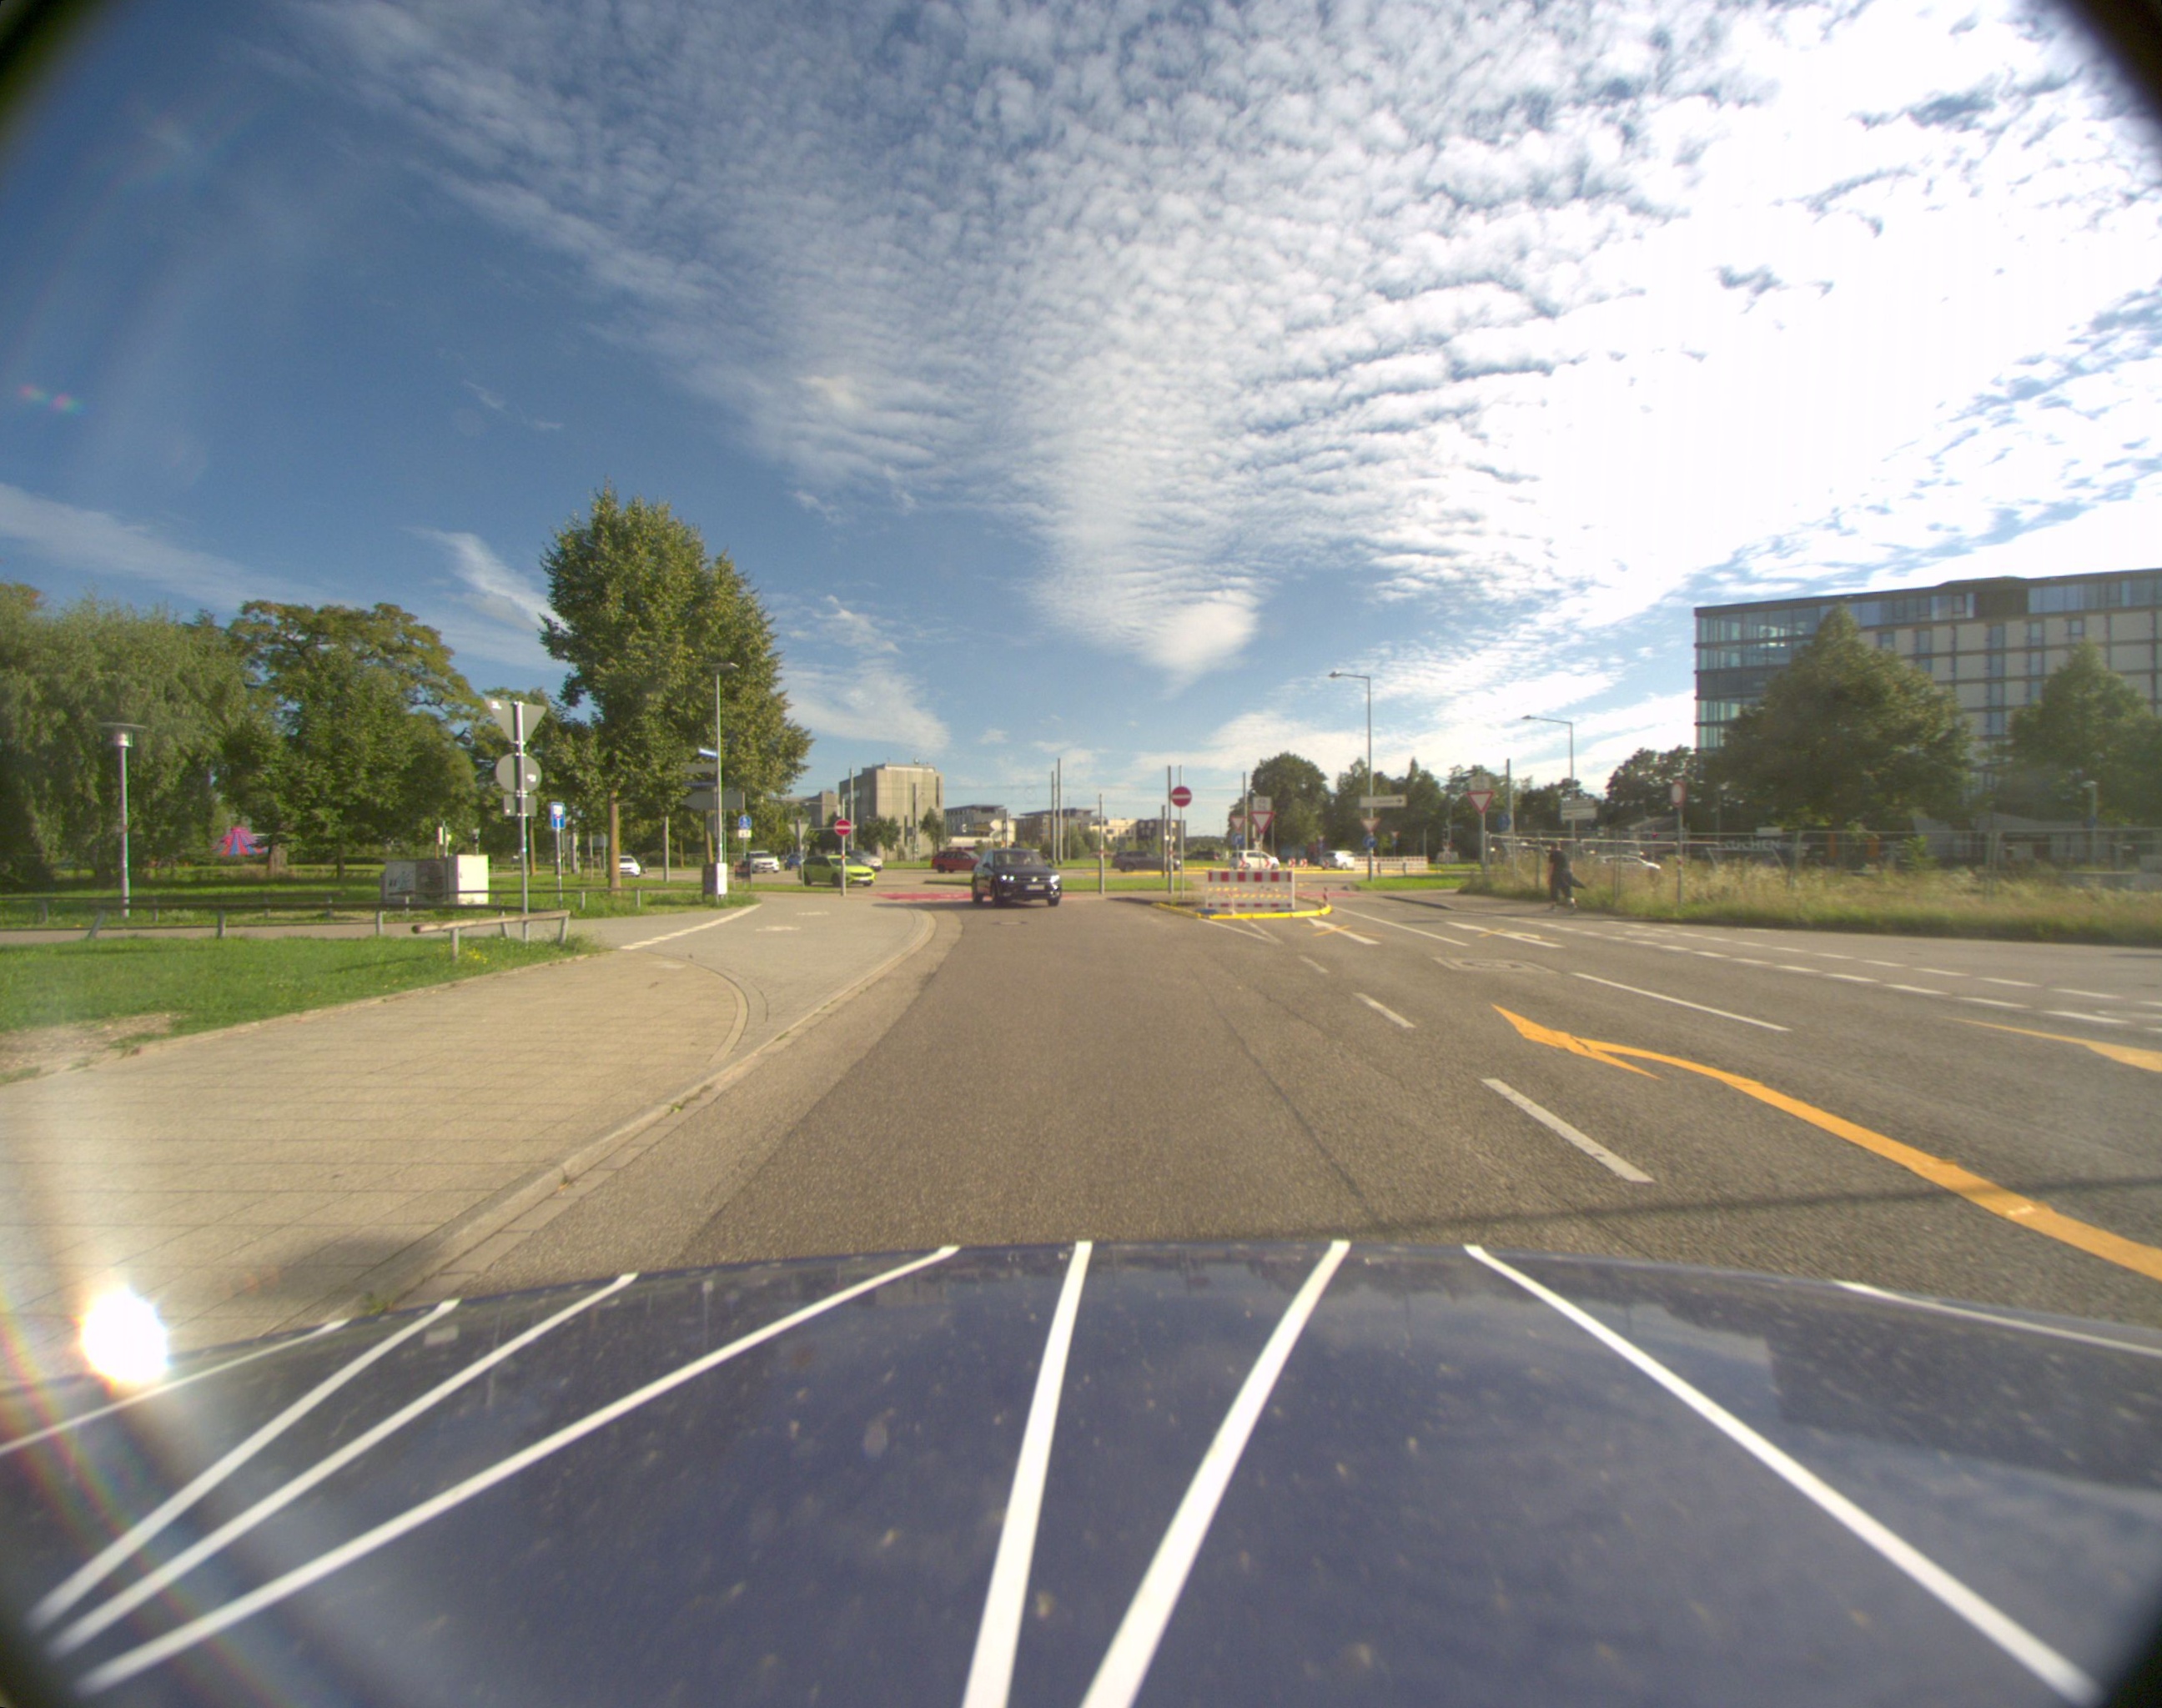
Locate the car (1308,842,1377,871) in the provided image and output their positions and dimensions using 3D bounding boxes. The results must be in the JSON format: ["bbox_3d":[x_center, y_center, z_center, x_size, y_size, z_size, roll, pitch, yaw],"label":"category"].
[{"bbox_3d":[20.144,0.162,58.396,5.817,2.047,2.471,-2,2,-41],"label":"car"}]

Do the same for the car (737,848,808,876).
[{"bbox_3d":[-22.286,0.549,54.741,6.234,1.856,2.482,0,2,45],"label":"car"}]

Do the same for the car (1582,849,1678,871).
[{"bbox_3d":[35.813,0.370,49.656,4.808,1.344,2.000,0,1,2],"label":"car"}]

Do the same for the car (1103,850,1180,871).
[{"bbox_3d":[3.925,0.400,49.903,4.811,1.344,1.999,0,1,-6],"label":"car"}]

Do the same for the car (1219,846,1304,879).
[{"bbox_3d":[12.751,0.557,53.600,5.510,2.047,2.472,-2,1,-26],"label":"car"}]

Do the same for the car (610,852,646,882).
[{"bbox_3d":[-30.718,0.827,51.630,1.842,1.856,5.391,-2,1,-28],"label":"car"}]

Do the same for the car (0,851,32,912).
[{"bbox_3d":[-33.412,0.881,20.858,2.271,1.789,4.910,-1,1,1],"label":"car"}]

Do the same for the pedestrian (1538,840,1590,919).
[{"bbox_3d":[11.553,0.595,18.184,0.710,1.813,0.743,-2,1,-22],"label":"pedestrian"}]

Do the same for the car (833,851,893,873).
[{"bbox_3d":[-15.331,0.551,53.322,4.251,1.477,2.004,0,1,40],"label":"car"}]

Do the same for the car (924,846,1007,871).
[{"bbox_3d":[-7.628,0.306,50.286,4.860,1.515,2.308,-1,1,15],"label":"car"}]

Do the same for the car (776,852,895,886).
[{"bbox_3d":[-11.683,0.686,35.950,5.972,1.461,2.046,-1,1,34],"label":"car"}]

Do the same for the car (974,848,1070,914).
[{"bbox_3d":[-1.809,0.687,21.939,1.824,1.648,4.236,-2,1,-17],"label":"car"}]
